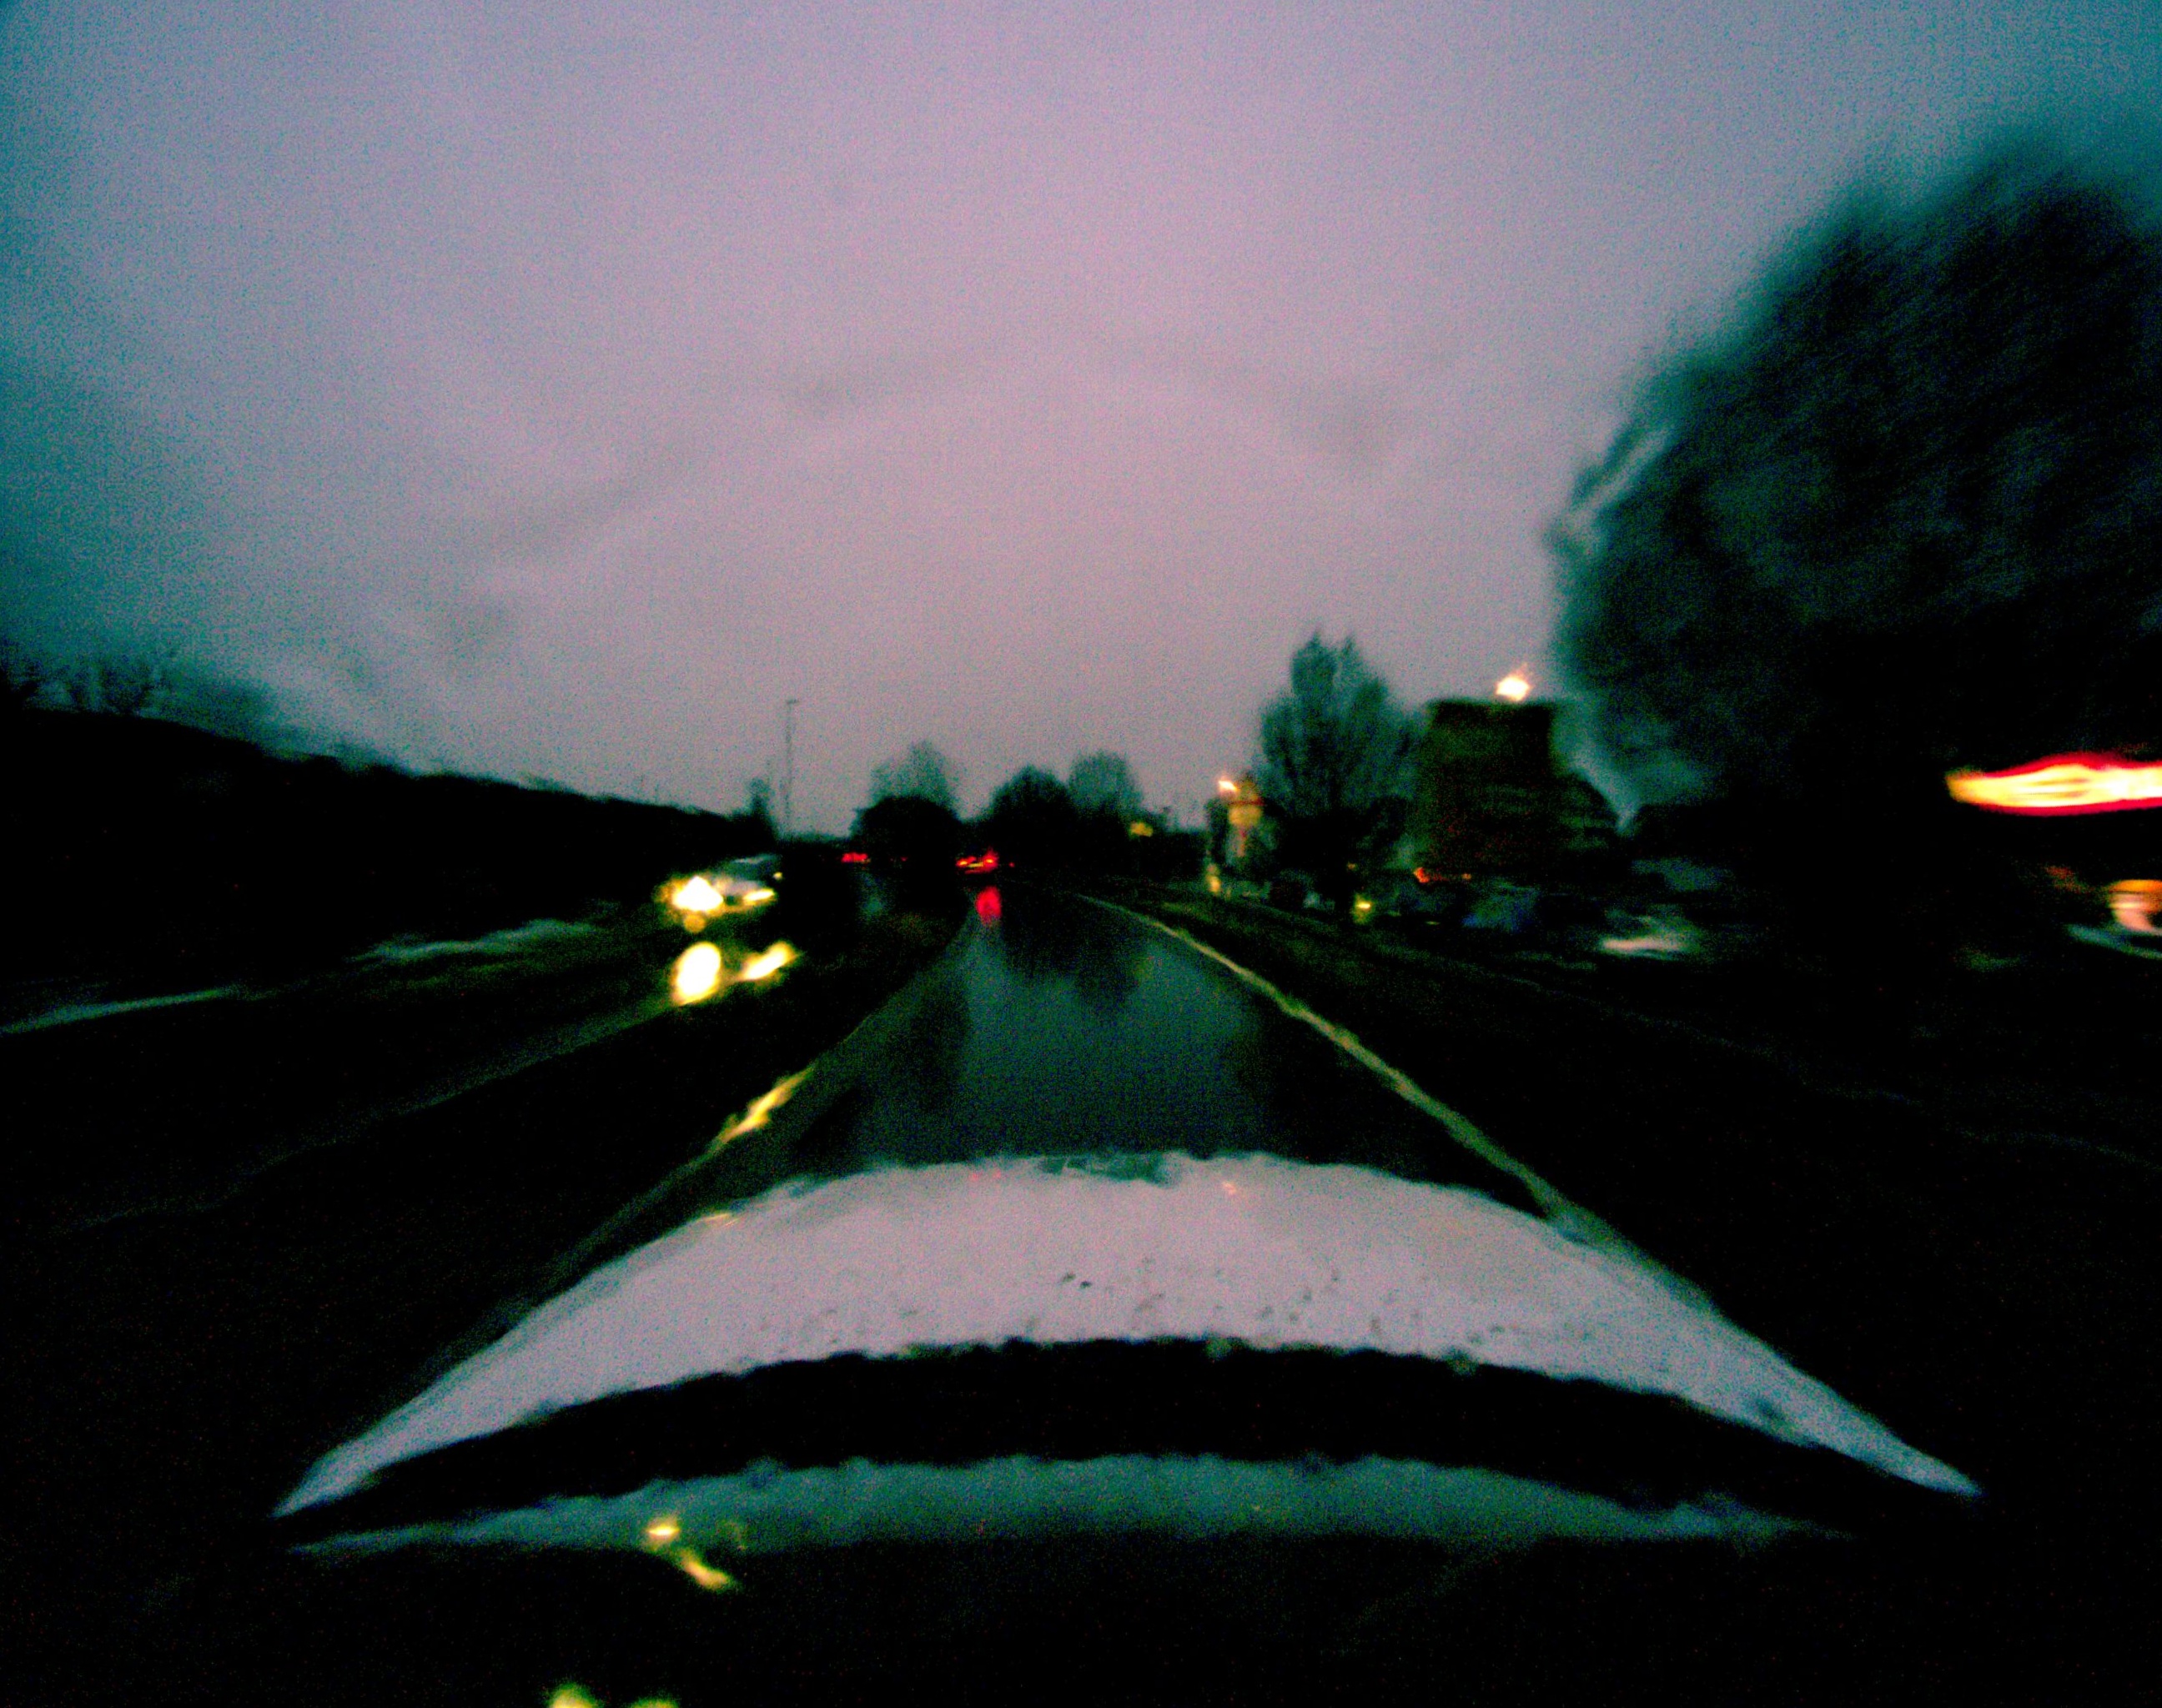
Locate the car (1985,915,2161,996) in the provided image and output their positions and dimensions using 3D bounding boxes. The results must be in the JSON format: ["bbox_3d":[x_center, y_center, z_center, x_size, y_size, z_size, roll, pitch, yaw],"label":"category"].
[{"bbox_3d":[23.608,2.274,18.139,4.486,1.535,1.817,0,0,42],"label":"car"}]

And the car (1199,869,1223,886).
[{"bbox_3d":[12.785,2.314,80.211,1.929,1.547,4.003,-1,0,3],"label":"car"}]

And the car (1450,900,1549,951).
[{"bbox_3d":[14.592,2.429,28.301,1.880,1.396,4.205,-1,-1,44],"label":"car"}]

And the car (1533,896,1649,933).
[{"bbox_3d":[23.363,2.734,37.382,4.262,1.425,1.757,0,0,43],"label":"car"}]

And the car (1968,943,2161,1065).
[{"bbox_3d":[15.873,2.206,11.814,1.764,1.429,3.806,-1,-1,-4],"label":"car"}]

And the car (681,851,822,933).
[{"bbox_3d":[-7.012,0.769,17.756,1.691,1.578,3.879,0,-1,-4],"label":"car"}]

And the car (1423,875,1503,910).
[{"bbox_3d":[22.752,2.259,48.568,3.984,1.868,1.734,0,0,41],"label":"car"}]

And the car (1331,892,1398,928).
[{"bbox_3d":[13.361,2.592,38.281,1.611,1.420,4.025,-1,0,41],"label":"car"}]

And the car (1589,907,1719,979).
[{"bbox_3d":[15.275,2.267,21.616,4.731,1.396,1.881,-1,-1,-43],"label":"car"}]

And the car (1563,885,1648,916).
[{"bbox_3d":[28.169,2.448,43.782,3.789,1.500,1.579,0,0,34],"label":"car"}]

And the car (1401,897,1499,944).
[{"bbox_3d":[14.110,2.469,31.025,1.907,1.455,4.614,-1,-1,44],"label":"car"}]

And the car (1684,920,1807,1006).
[{"bbox_3d":[15.456,2.414,18.869,1.828,1.396,4.205,-1,-1,44],"label":"car"}]

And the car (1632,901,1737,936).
[{"bbox_3d":[27.614,2.925,37.312,3.790,1.352,1.579,0,0,40],"label":"car"}]

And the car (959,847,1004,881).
[{"bbox_3d":[-5.458,0.534,44.277,1.947,1.718,3.981,1,-1,-14],"label":"car"}]

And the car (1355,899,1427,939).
[{"bbox_3d":[13.362,2.750,35.012,1.611,1.420,4.025,-1,0,41],"label":"car"}]

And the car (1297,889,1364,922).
[{"bbox_3d":[12.706,2.577,41.381,1.774,1.439,4.025,-1,0,41],"label":"car"}]

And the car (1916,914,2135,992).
[{"bbox_3d":[24.154,2.462,21.010,1.608,1.585,3.589,0,0,-42],"label":"car"}]

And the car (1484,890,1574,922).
[{"bbox_3d":[22.786,2.605,41.466,3.714,1.430,1.578,0,0,45],"label":"car"}]

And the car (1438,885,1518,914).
[{"bbox_3d":[22.159,2.504,45.542,1.577,1.430,3.717,0,0,-41],"label":"car"}]
